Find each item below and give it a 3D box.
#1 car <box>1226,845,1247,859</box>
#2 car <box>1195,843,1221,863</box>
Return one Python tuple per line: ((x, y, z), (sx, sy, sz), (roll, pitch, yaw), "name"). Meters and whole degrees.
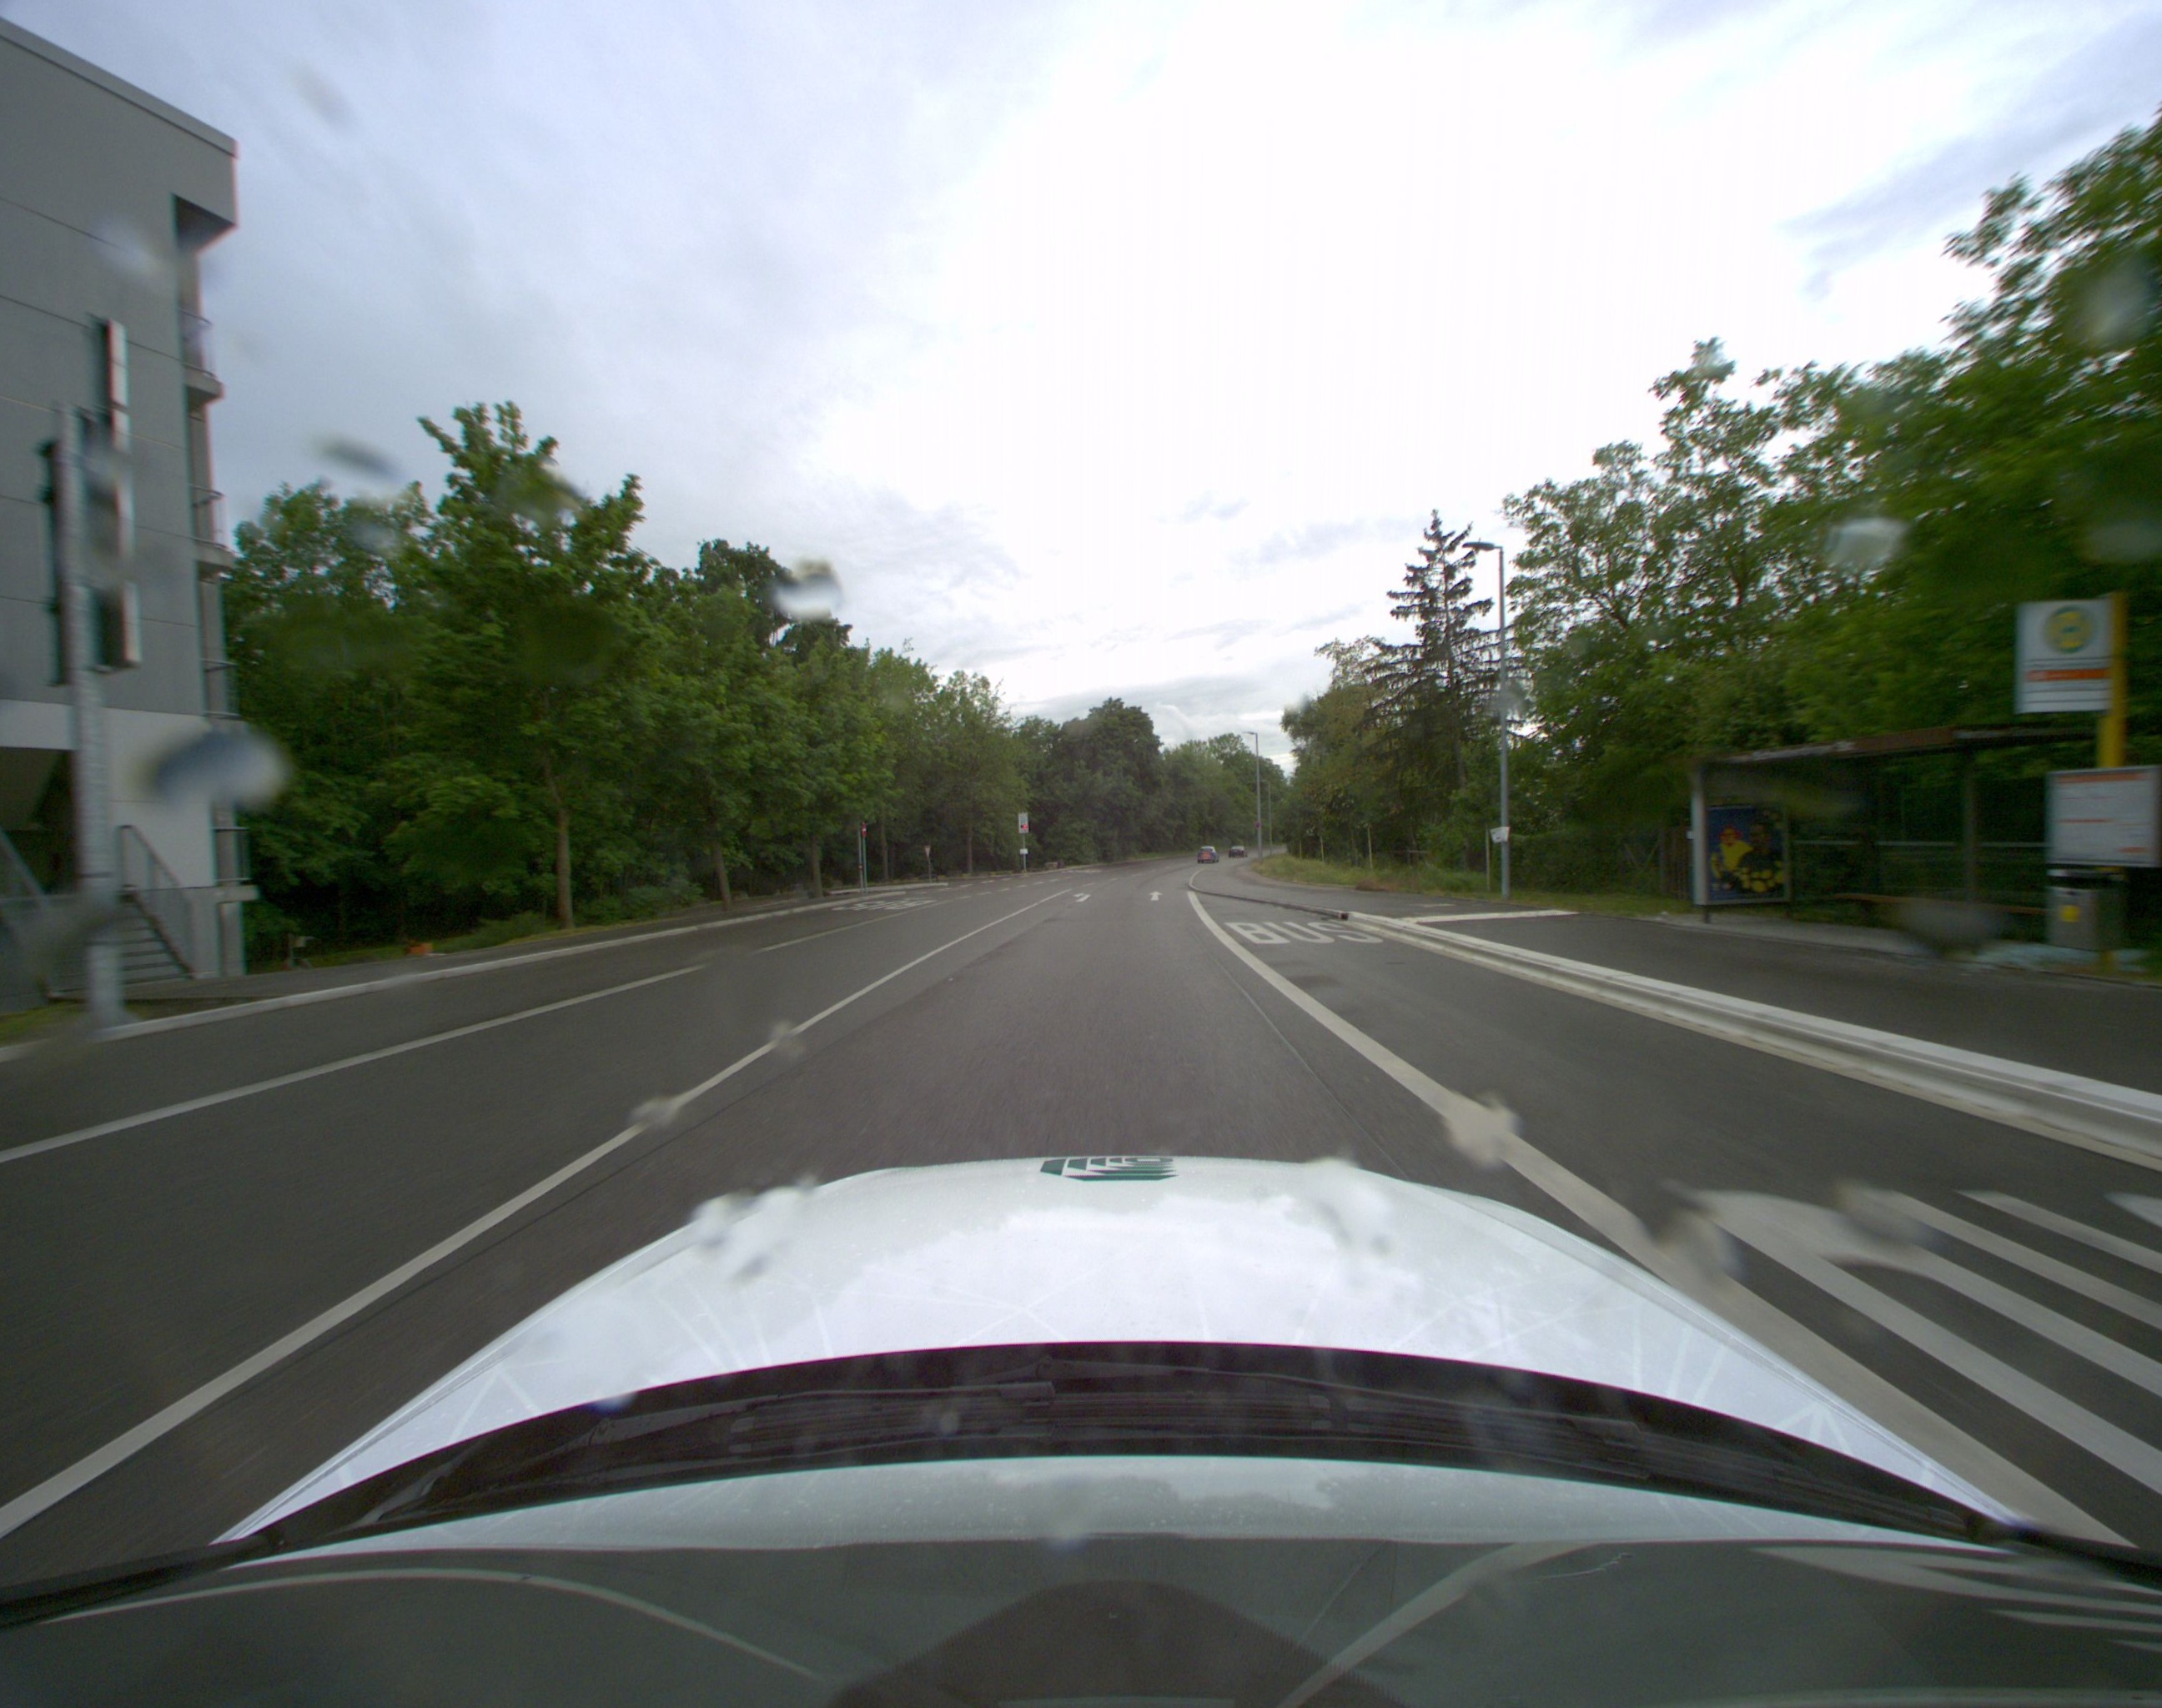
((18.997, -0.258, 99.527), (1.911, 1.486, 3.818), (-3, 2, 18), "car")
((12.446, -0.122, 79.565), (1.979, 1.689, 4.017), (-3, 2, 15), "car")
